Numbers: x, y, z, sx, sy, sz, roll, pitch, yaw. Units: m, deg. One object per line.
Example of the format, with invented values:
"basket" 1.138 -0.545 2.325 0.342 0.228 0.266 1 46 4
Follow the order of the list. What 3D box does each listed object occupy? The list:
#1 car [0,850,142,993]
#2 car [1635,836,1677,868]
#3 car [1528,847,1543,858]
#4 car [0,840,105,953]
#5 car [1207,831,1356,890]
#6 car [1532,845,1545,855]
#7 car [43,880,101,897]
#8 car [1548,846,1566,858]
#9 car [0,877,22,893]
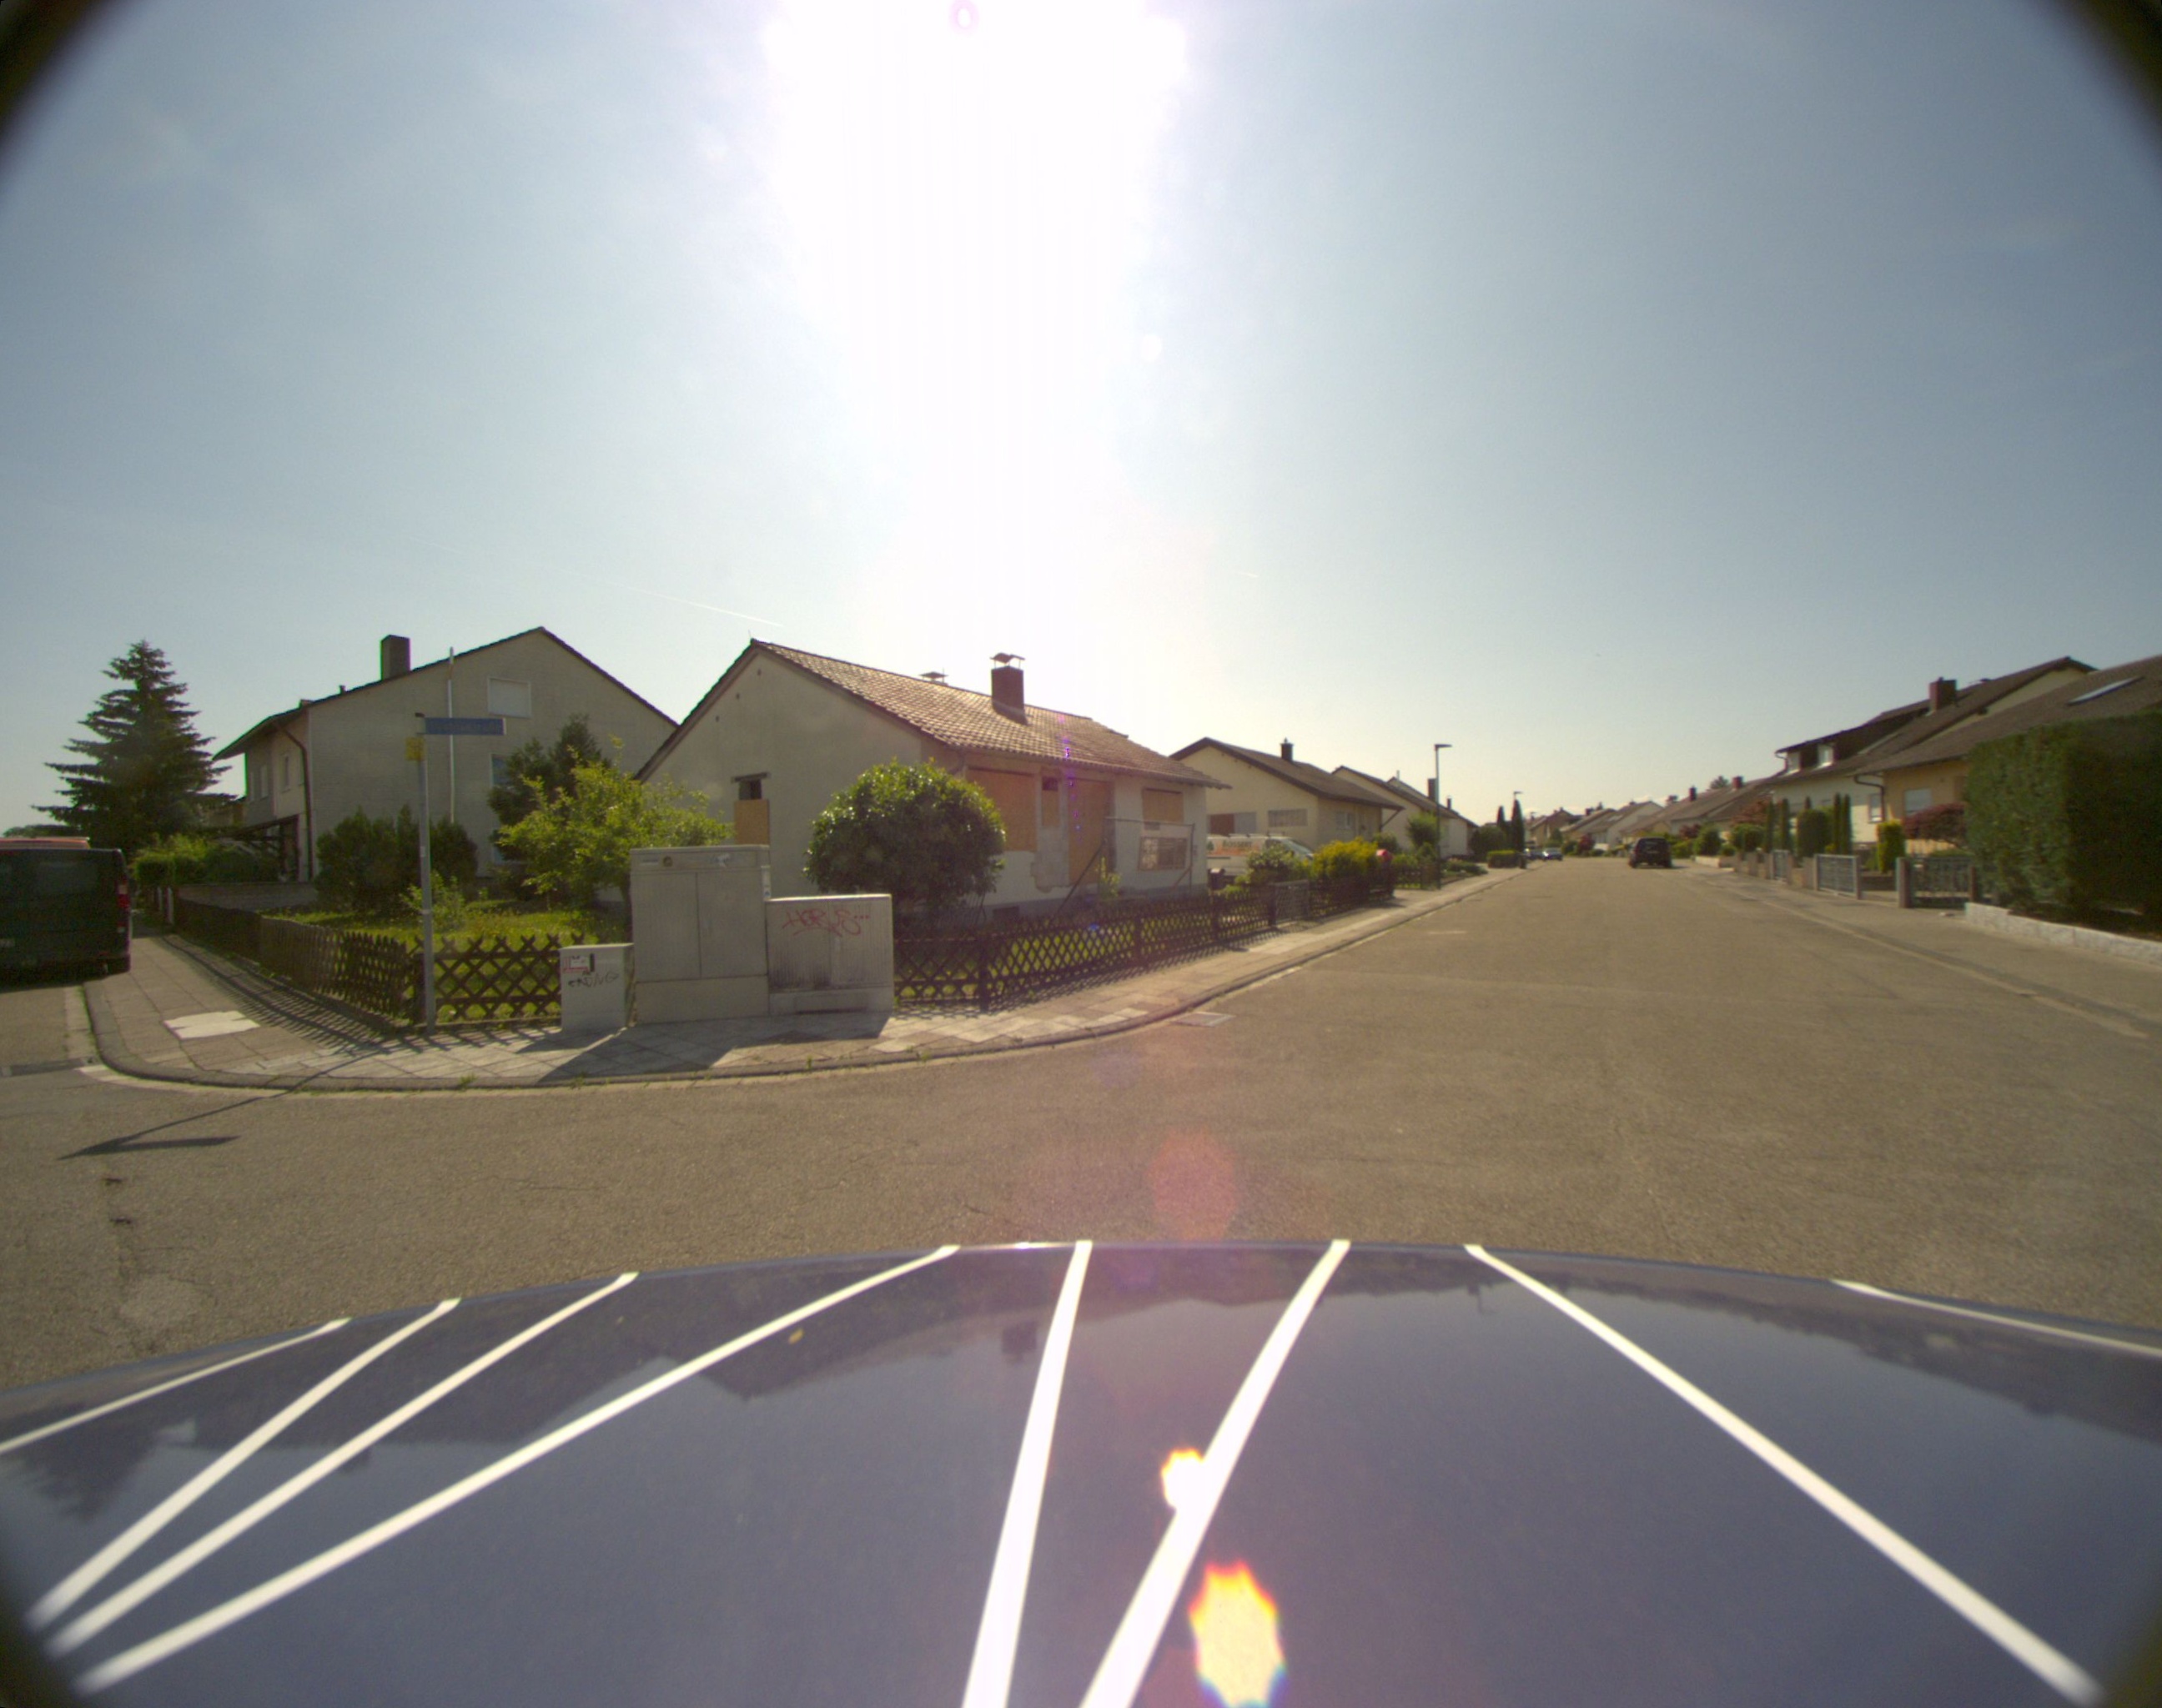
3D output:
"car" -16.301 0.962 11.790 4.192 1.927 1.875 -1 1 36
"car" 33.197 -0.135 43.927 1.765 1.767 3.659 -1 0 35
"car" 57.817 -0.206 96.662 1.456 1.270 3.109 -1 1 28
"car" -23.817 0.905 17.403 4.192 2.310 1.559 -1 1 36
"car" 7.416 0.224 28.361 4.998 2.002 1.871 0 1 36
"car" 63.428 -0.593 105.347 1.456 1.270 3.109 -1 1 30
"car" -105.775 3.585 79.675 1.634 1.521 3.421 -1 1 30
"car" 53.033 -0.189 84.700 1.456 1.270 3.109 -1 1 29
"car" -100.777 2.910 70.891 3.990 1.332 1.713 -3 0 28
